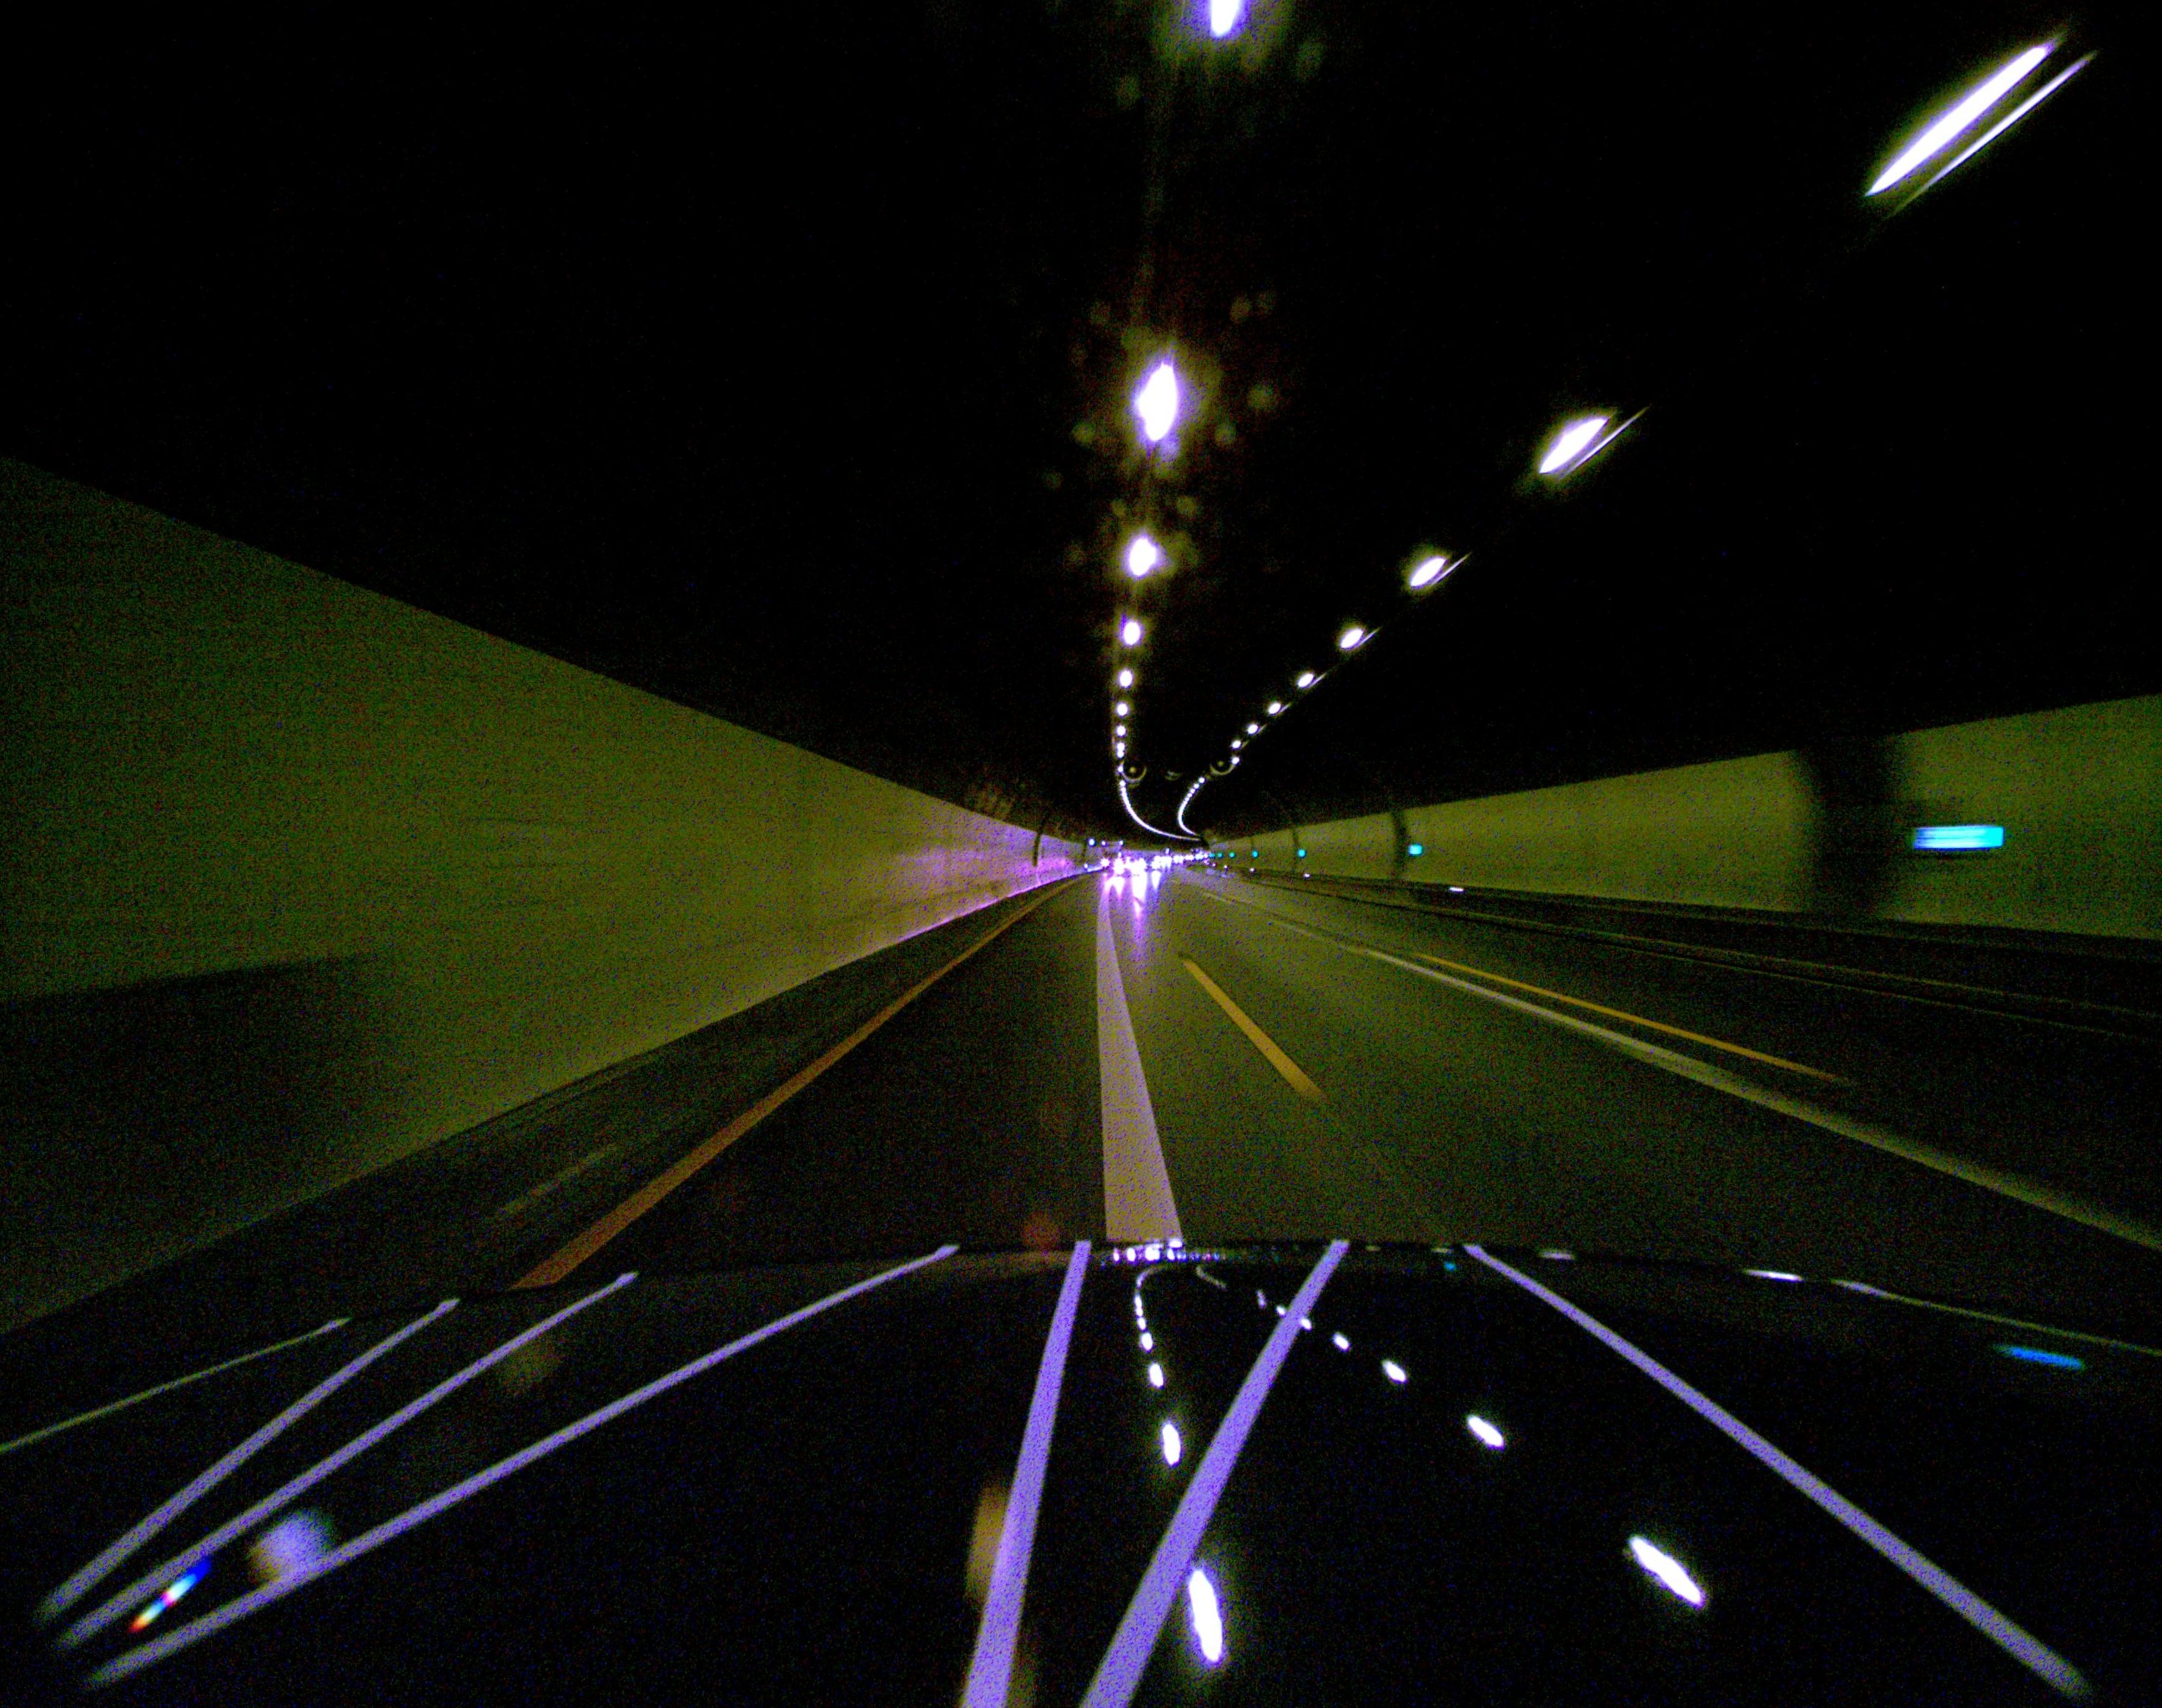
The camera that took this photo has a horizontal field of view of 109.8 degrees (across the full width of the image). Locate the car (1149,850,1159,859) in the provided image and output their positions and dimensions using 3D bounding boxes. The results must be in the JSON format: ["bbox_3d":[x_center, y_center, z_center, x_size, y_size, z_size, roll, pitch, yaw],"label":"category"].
[{"bbox_3d":[17.389,0.033,180.406,1.997,1.917,4.388,-3,0,11],"label":"car"}]

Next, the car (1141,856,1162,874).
[{"bbox_3d":[7.409,1.129,79.648,1.998,1.655,4.001,-4,1,6],"label":"car"}]

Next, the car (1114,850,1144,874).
[{"bbox_3d":[3.884,0.623,61.003,2.171,1.709,4.483,-3,0,5],"label":"car"}]

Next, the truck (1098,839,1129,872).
[{"bbox_3d":[3.619,0.149,82.674,2.988,3.161,10.510,-3,0,3],"label":"truck"}]
